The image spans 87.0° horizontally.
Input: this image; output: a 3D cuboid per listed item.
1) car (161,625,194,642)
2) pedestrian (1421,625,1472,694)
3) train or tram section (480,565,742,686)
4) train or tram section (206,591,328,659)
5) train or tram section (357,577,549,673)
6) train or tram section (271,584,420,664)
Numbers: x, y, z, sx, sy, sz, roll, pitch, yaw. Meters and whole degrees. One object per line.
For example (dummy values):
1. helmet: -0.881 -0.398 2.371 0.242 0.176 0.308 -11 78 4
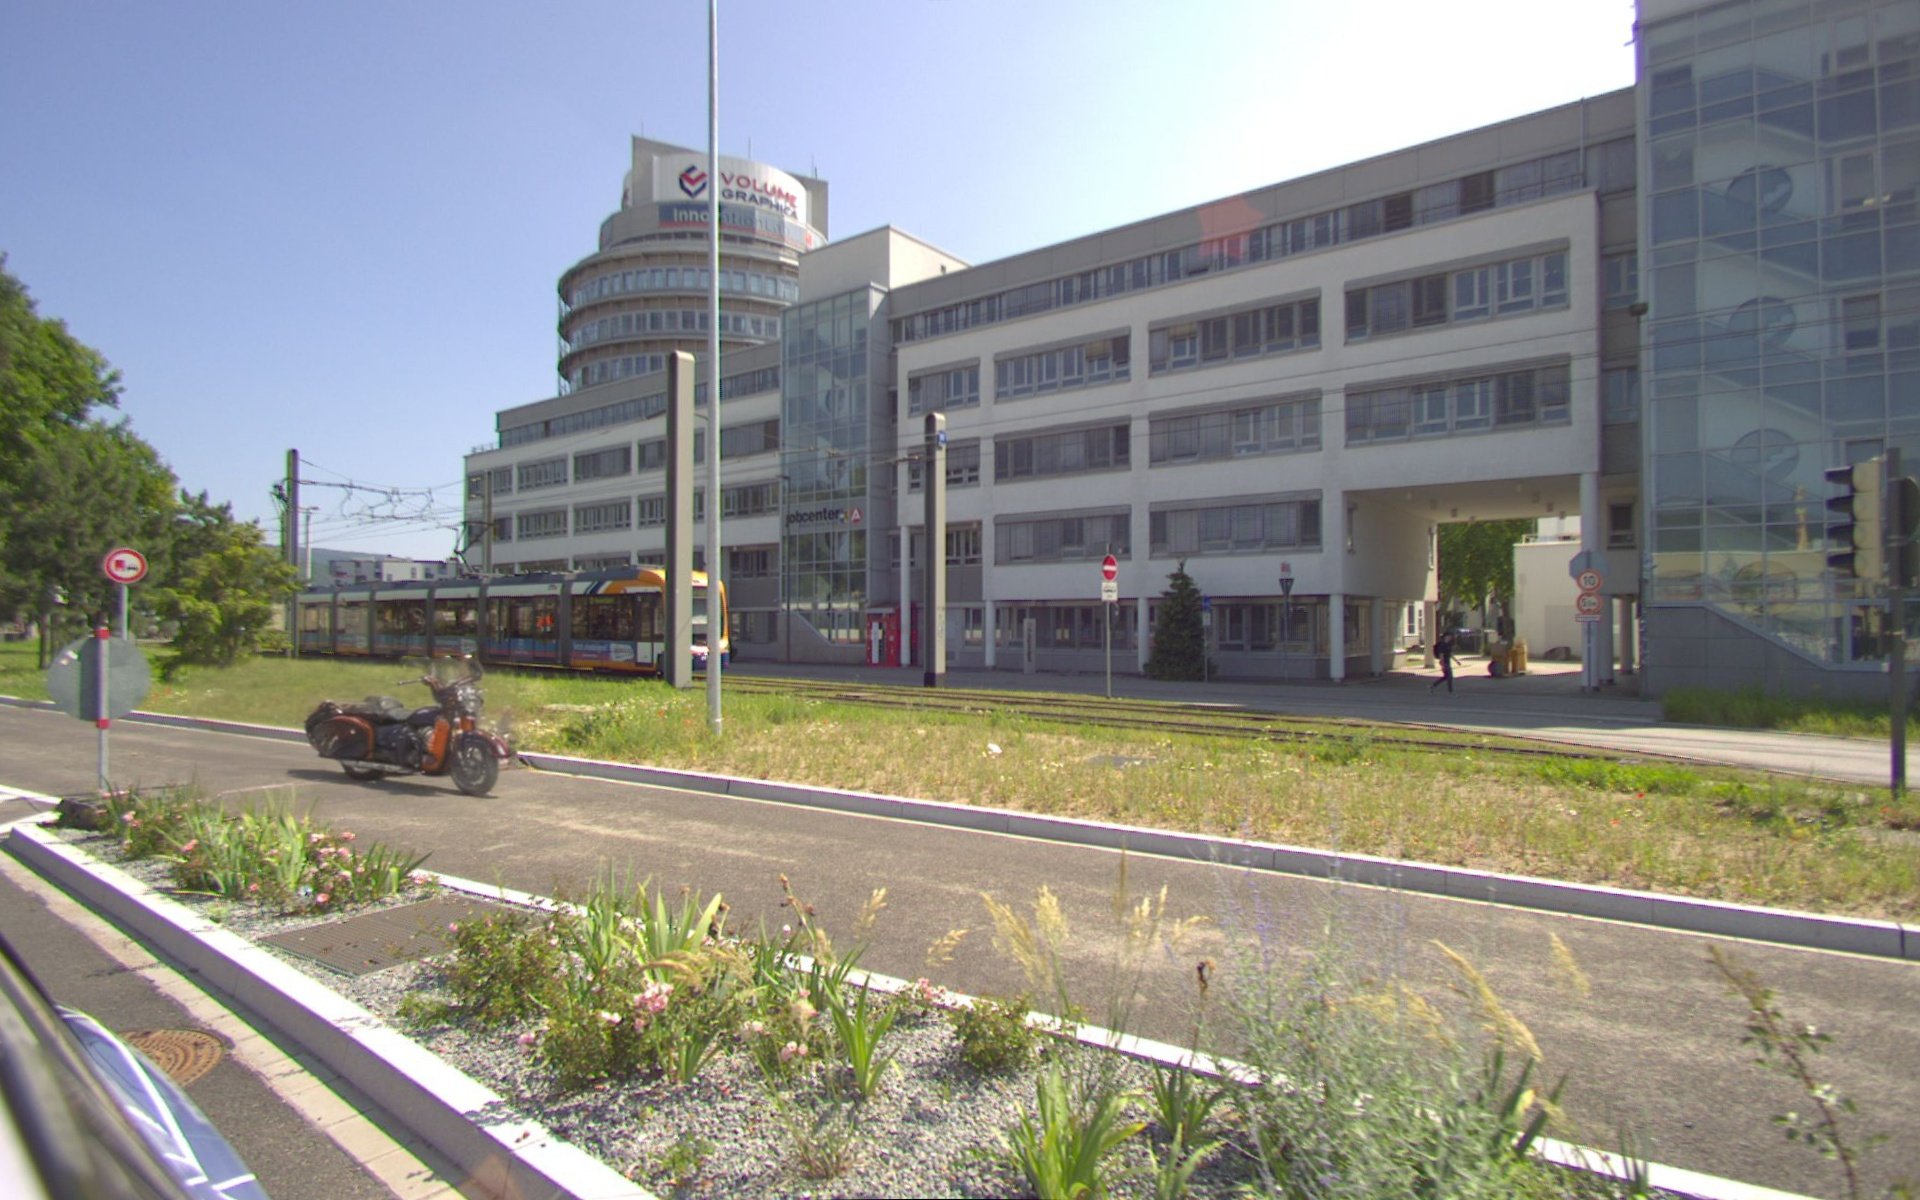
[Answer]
1. car: -72.851 3.102 94.188 3.803 1.513 1.866 0 0 43
2. pedestrian: 13.711 1.662 28.511 1.107 1.840 0.758 -2 0 38
3. train or tram section: -12.023 0.791 33.826 11.772 3.476 2.598 -1 0 40
4. train or tram section: -39.027 1.343 56.753 11.772 3.476 2.598 -1 0 40
5. train or tram section: -21.023 0.948 41.464 11.772 3.476 2.598 -1 0 40
6. train or tram section: -30.027 1.103 49.105 11.772 3.476 2.598 -1 0 40
